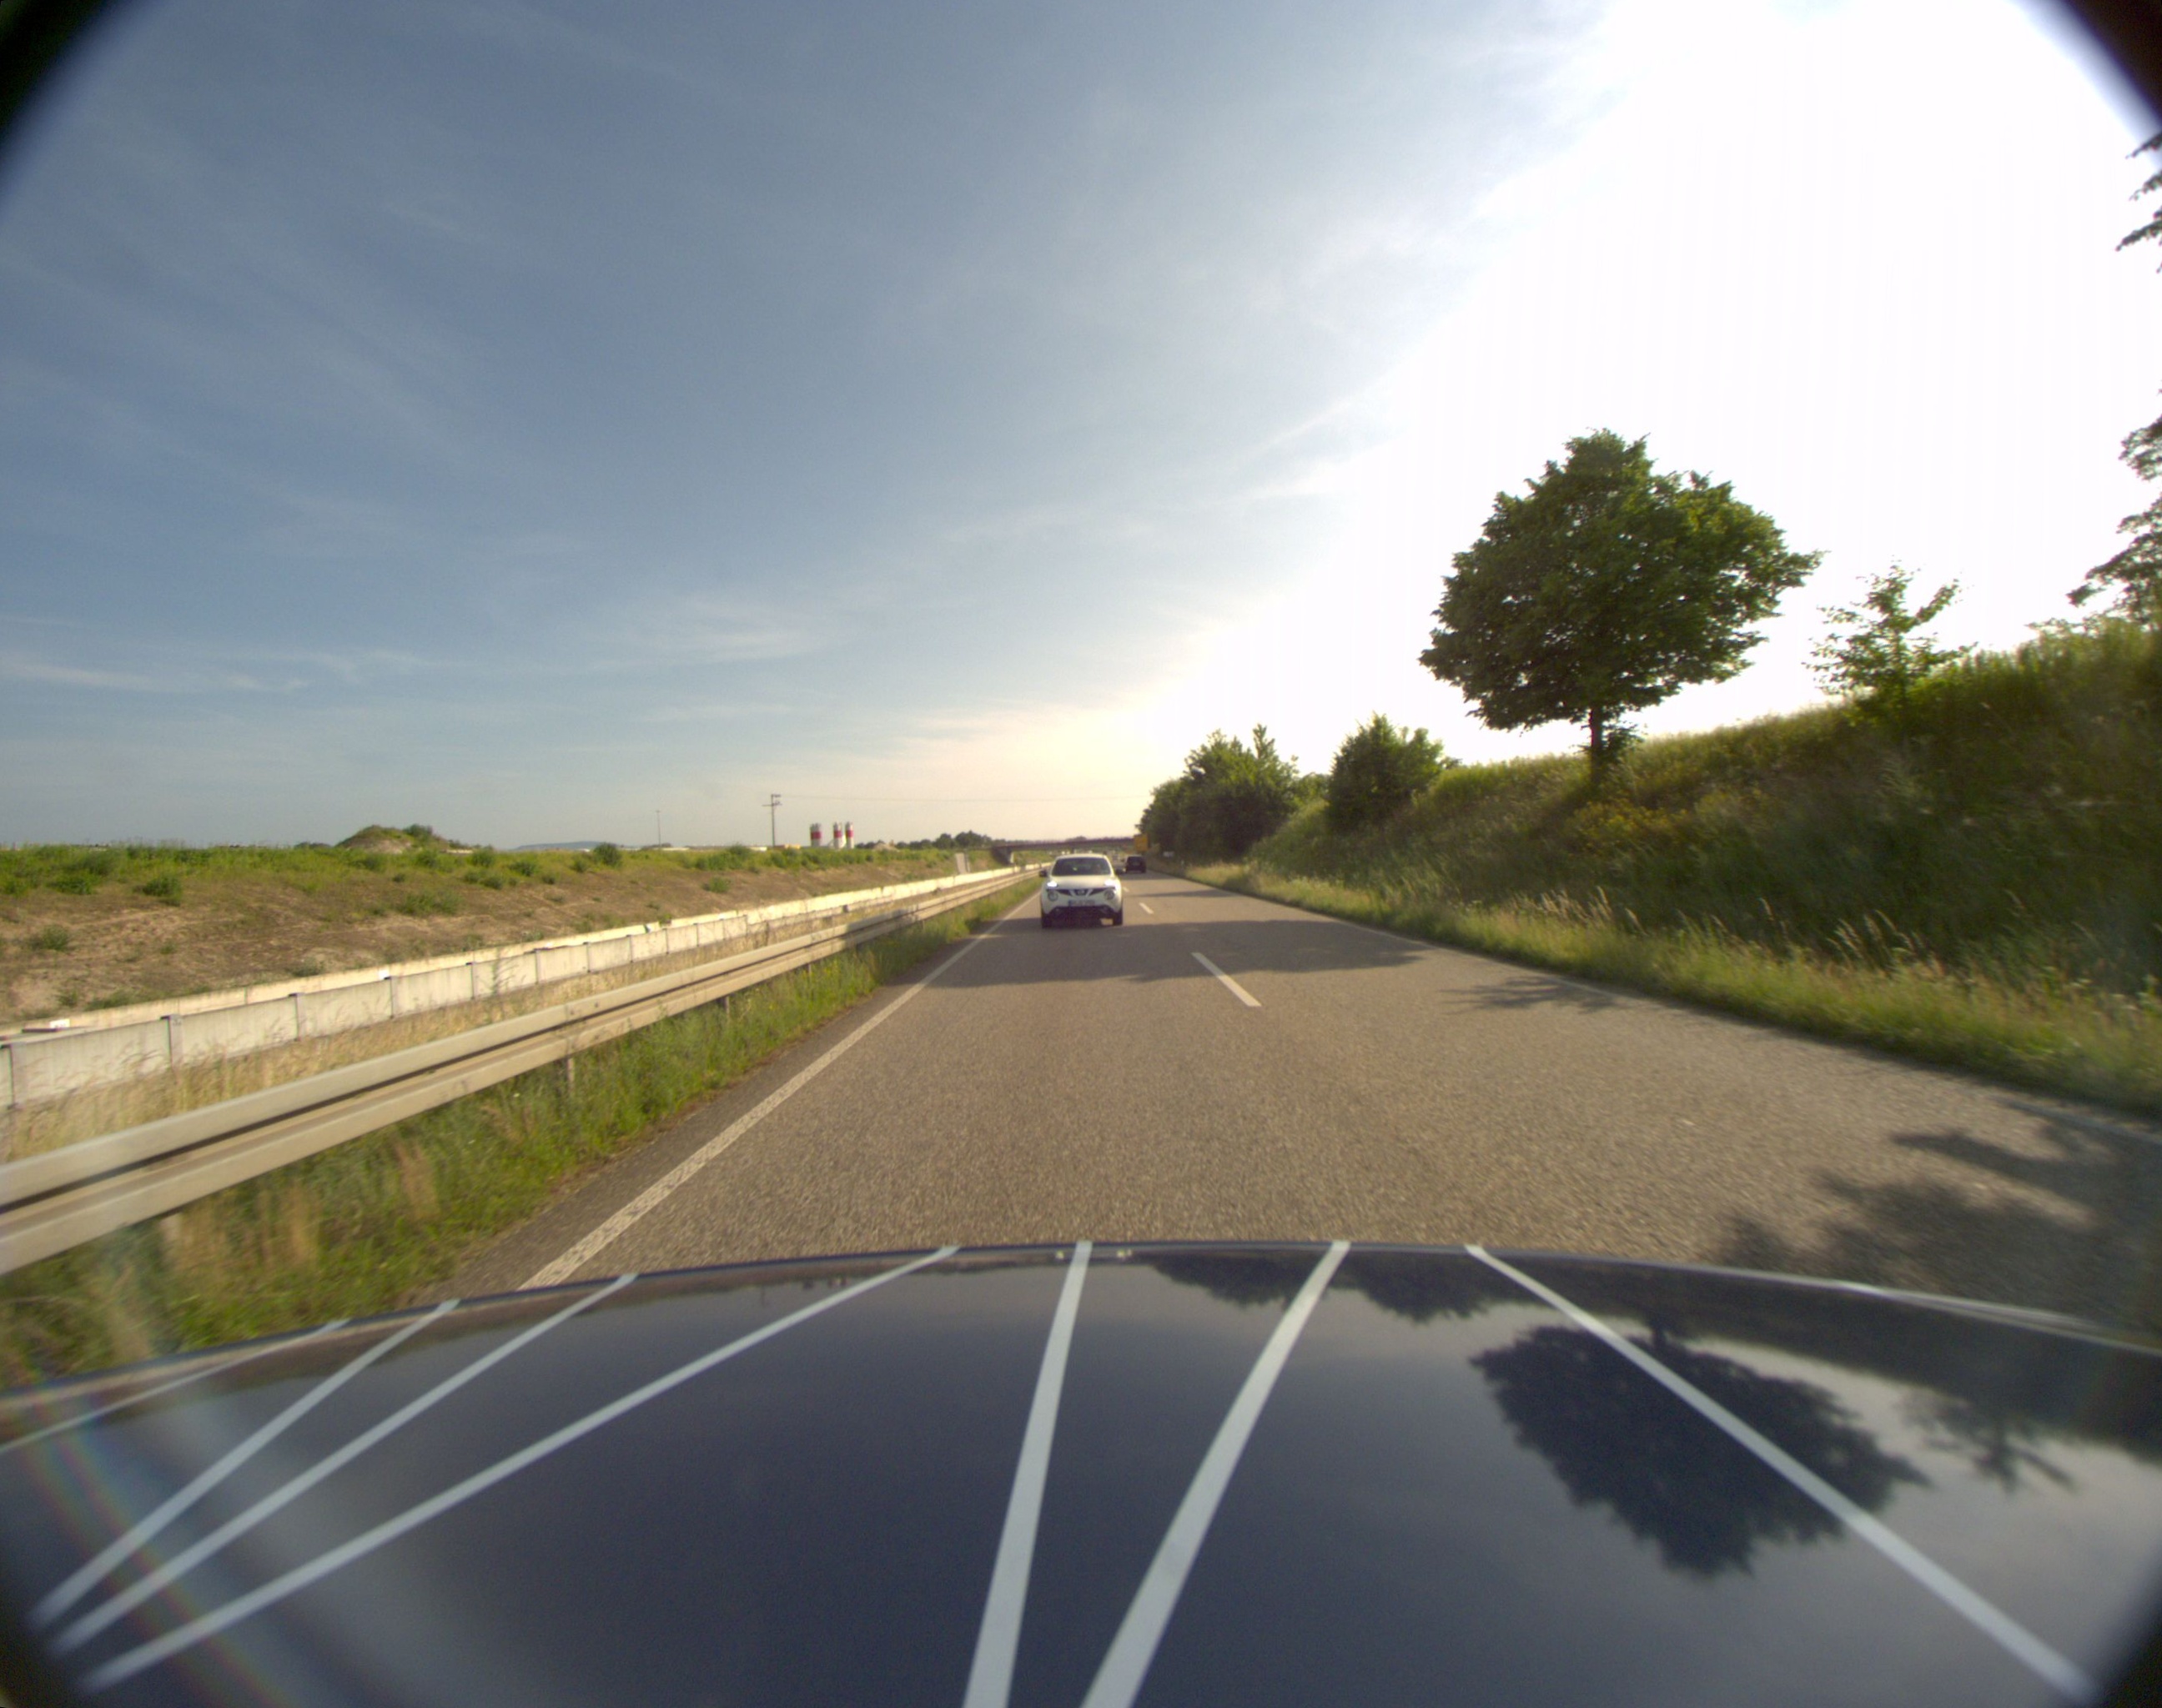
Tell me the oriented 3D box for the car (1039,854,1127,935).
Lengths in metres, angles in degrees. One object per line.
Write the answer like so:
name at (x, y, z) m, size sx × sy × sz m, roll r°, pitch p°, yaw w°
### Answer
car at (0.036, 0.830, 17.961) m, size 1.789 × 1.593 × 4.571 m, roll -2°, pitch 0°, yaw 0°

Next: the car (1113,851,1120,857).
car at (9.639, 0.048, 205.283) m, size 1.749 × 1.555 × 4.365 m, roll -2°, pitch 0°, yaw 0°

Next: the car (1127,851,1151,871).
car at (4.684, 0.564, 62.176) m, size 1.747 × 1.538 × 4.312 m, roll -1°, pitch 0°, yaw 2°

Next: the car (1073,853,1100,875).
car at (0.458, 0.711, 57.822) m, size 1.907 × 1.512 × 4.466 m, roll -2°, pitch 0°, yaw 2°
